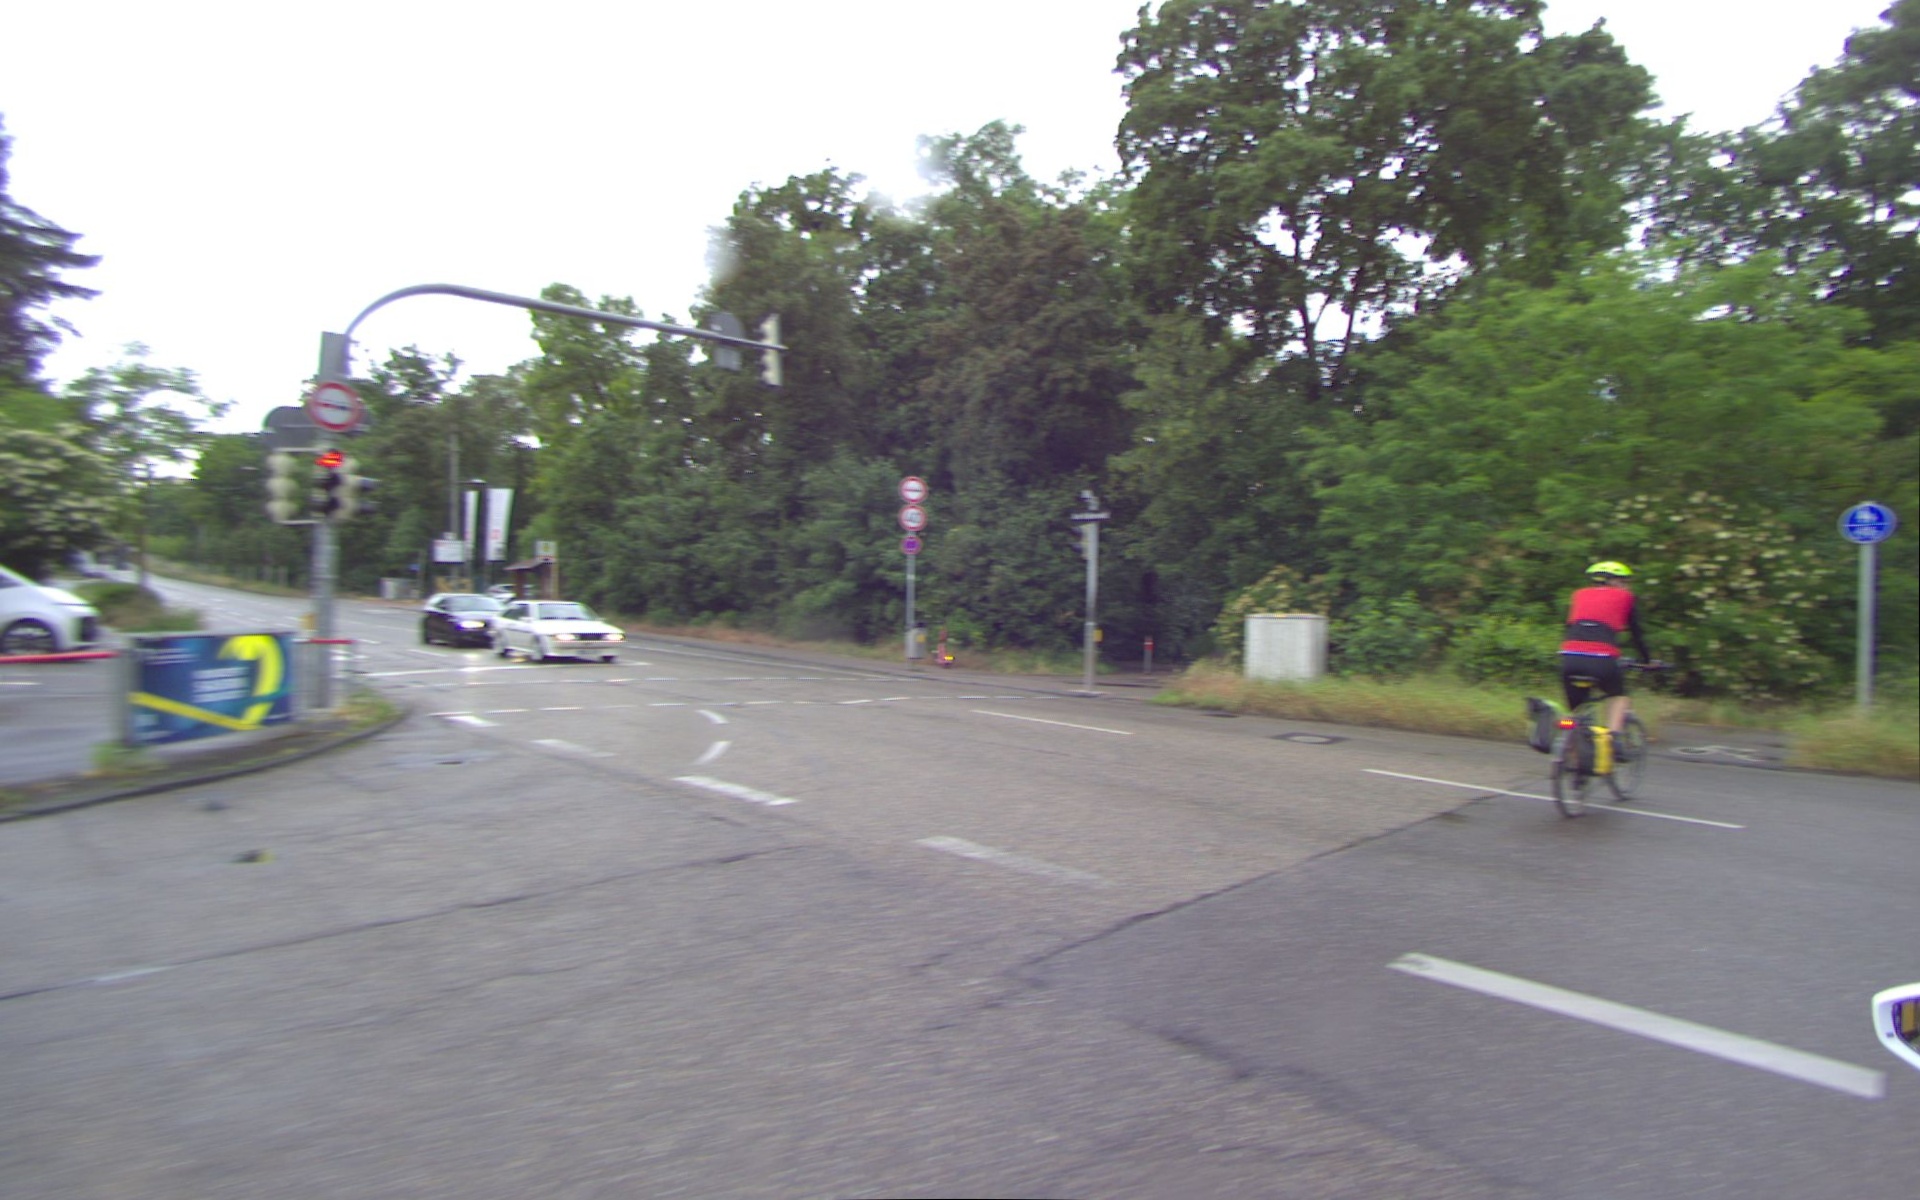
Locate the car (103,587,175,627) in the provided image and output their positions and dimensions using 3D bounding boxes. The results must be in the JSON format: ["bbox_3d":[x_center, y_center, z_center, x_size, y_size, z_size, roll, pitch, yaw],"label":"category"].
[{"bbox_3d":[-31.878,0.256,38.947,1.989,1.372,3.950,2,1,-42],"label":"car"}]

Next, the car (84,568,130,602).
[{"bbox_3d":[-52.261,-0.938,61.517,1.989,1.906,3.950,2,1,-42],"label":"car"}]

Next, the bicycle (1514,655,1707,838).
[{"bbox_3d":[4.887,1.008,7.478,2.136,1.111,0.573,1,1,-40],"label":"bicycle"}]

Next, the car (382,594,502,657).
[{"bbox_3d":[-13.494,0.622,26.065,1.812,1.372,3.950,2,1,-42],"label":"car"}]

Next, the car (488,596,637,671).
[{"bbox_3d":[-8.852,0.681,22.199,1.812,1.372,3.950,2,1,-42],"label":"car"}]

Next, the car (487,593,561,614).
[{"bbox_3d":[-27.353,0.248,63.134,3.973,1.216,1.585,1,0,-44],"label":"car"}]

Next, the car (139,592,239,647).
[{"bbox_3d":[-22.180,0.531,28.836,1.989,1.372,3.950,2,1,-42],"label":"car"}]

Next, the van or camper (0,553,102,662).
[{"bbox_3d":[-19.481,0.110,18.829,5.142,2.040,1.976,1,1,-42],"label":"van or camper"}]

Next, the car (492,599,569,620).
[{"bbox_3d":[-25.857,0.590,60.533,3.973,1.216,1.585,1,0,-44],"label":"car"}]

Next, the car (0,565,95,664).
[{"bbox_3d":[-21.325,0.269,20.810,5.142,2.040,1.976,1,1,-42],"label":"car"}]

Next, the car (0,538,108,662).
[{"bbox_3d":[-17.262,-0.035,16.353,5.143,2.040,1.975,1,1,-42],"label":"car"}]

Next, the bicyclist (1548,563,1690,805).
[{"bbox_3d":[4.930,0.580,7.504,1.040,1.675,0.573,0,1,-39],"label":"bicyclist"}]
